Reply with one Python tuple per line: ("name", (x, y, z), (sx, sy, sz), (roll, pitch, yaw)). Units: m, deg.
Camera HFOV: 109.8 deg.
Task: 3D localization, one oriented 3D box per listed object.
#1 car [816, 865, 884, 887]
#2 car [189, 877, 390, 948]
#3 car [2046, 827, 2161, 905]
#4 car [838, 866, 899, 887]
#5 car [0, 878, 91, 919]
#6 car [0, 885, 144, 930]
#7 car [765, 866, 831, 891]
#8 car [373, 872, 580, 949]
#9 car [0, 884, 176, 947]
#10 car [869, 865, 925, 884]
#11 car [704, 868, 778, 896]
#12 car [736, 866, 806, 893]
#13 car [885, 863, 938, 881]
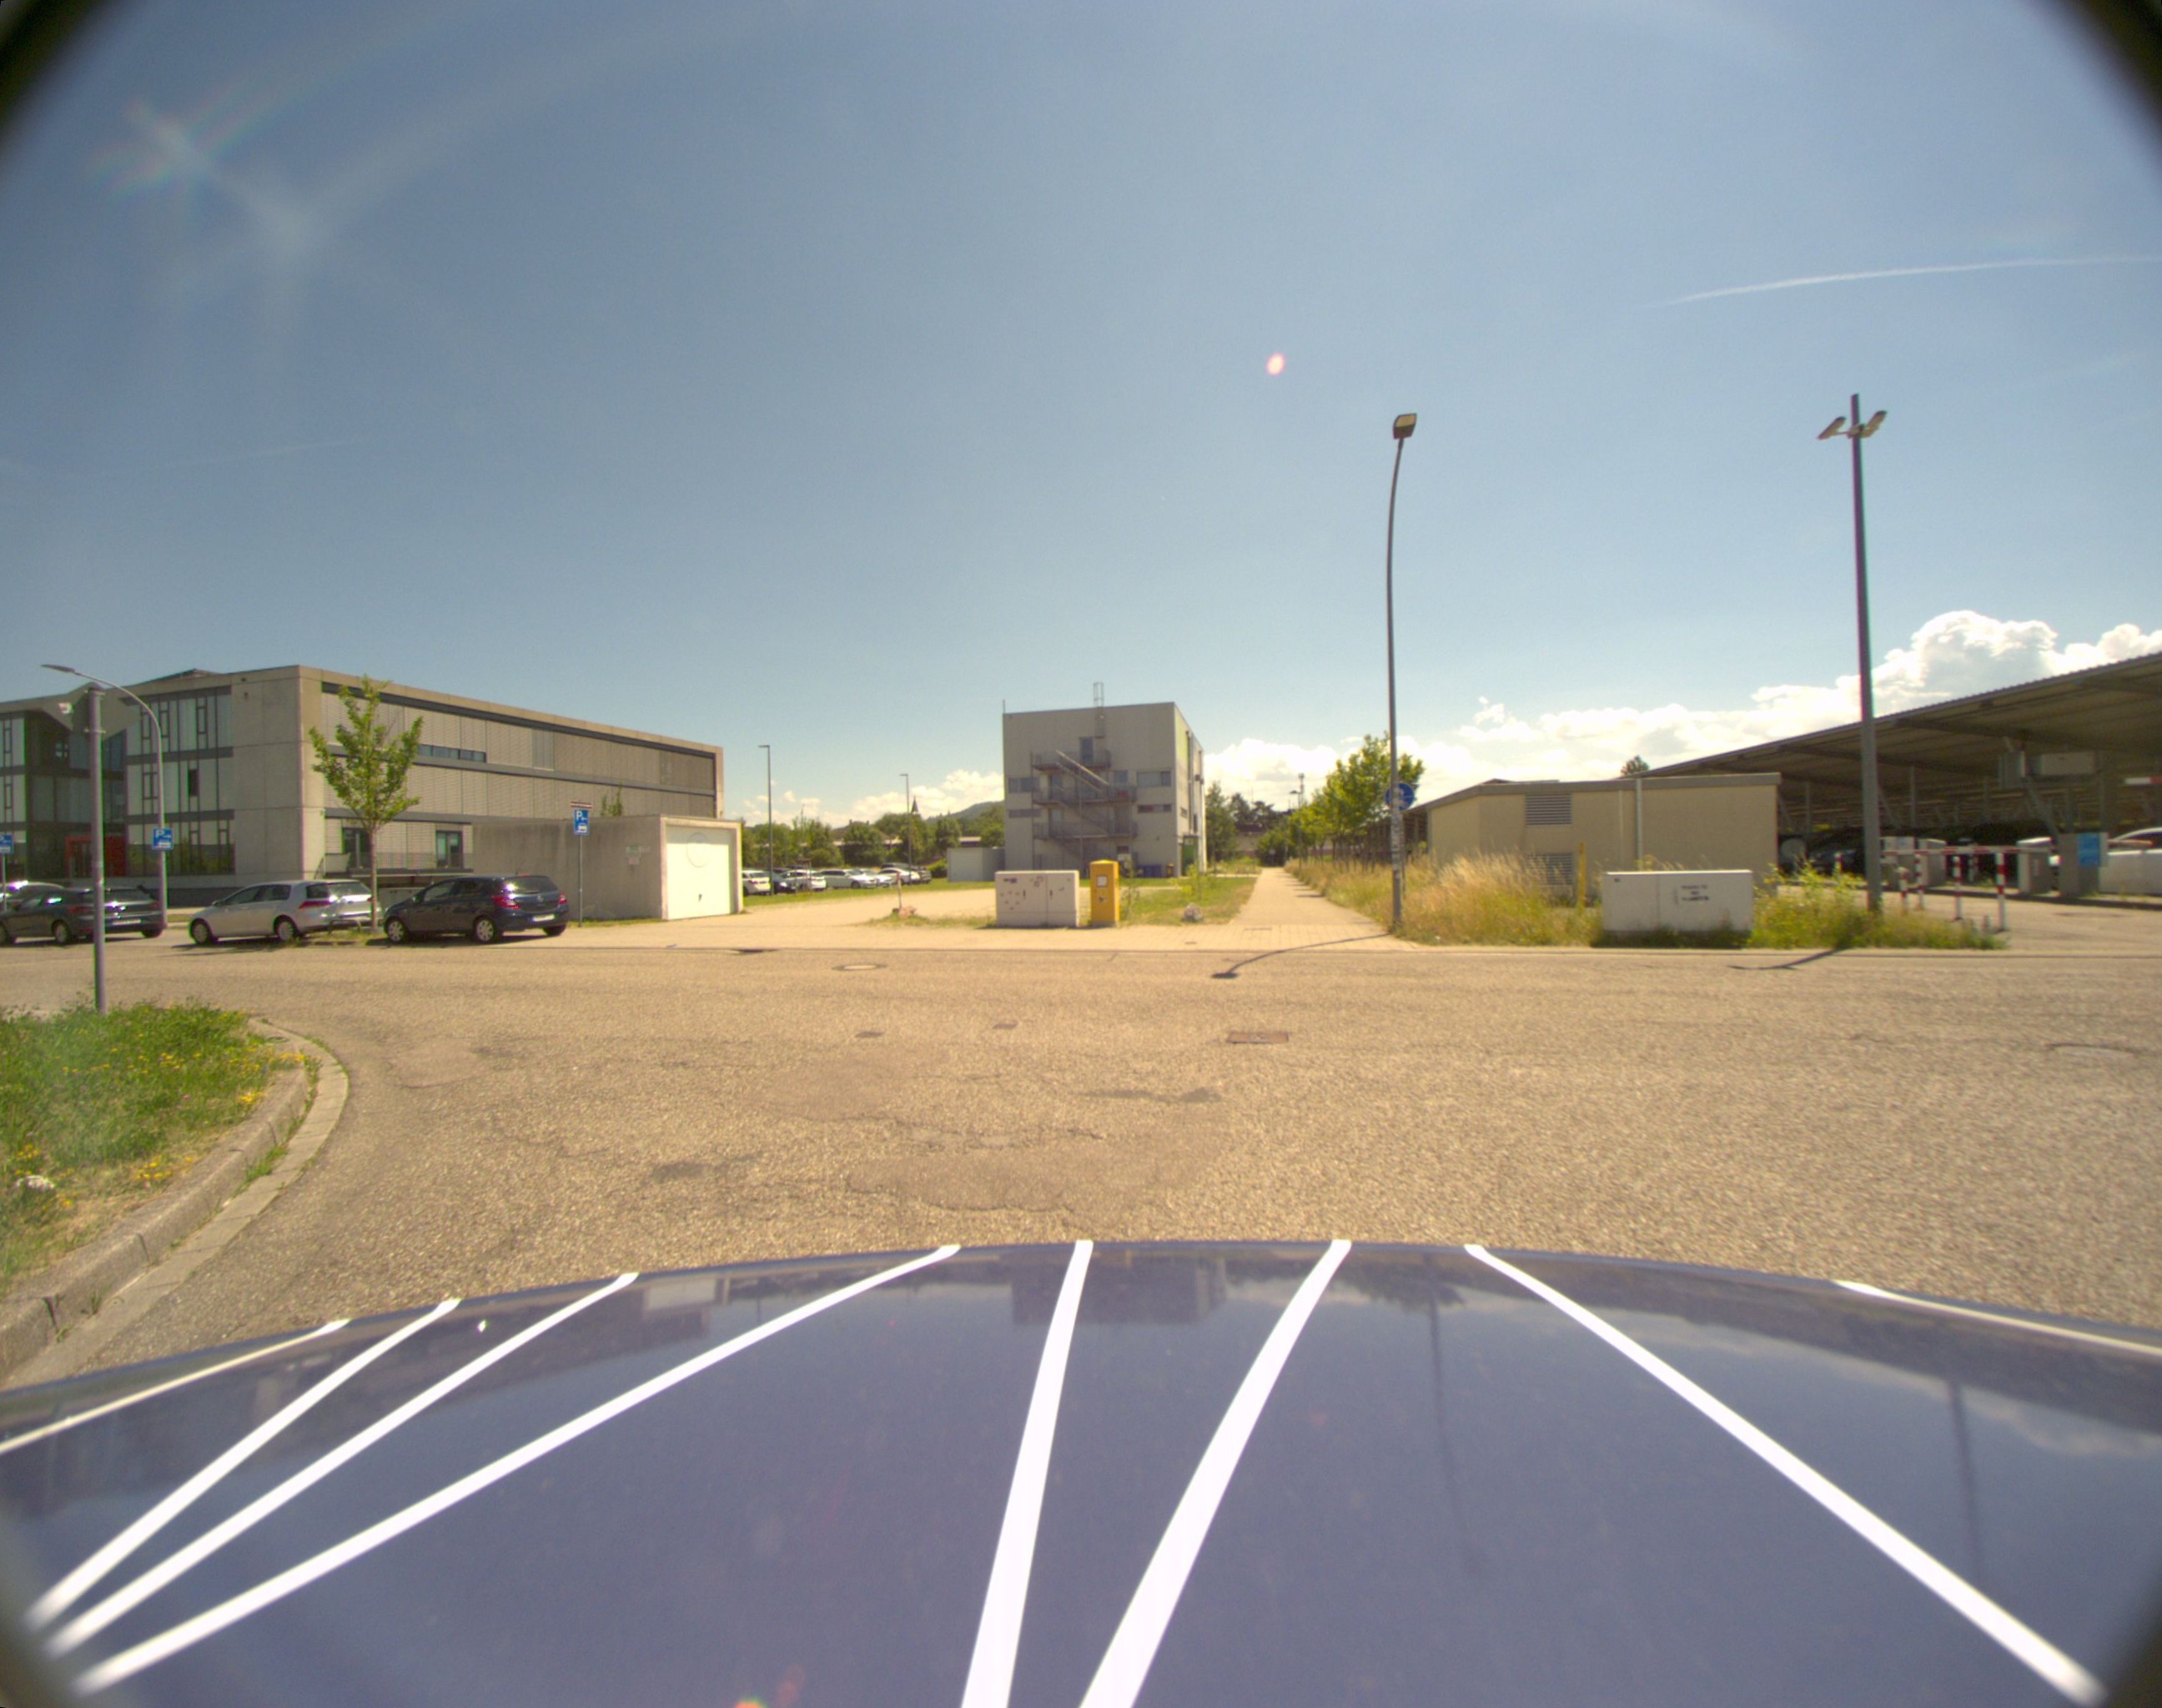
("car", (-16.514, 1.552, 54.279), (4.363, 1.458, 1.711), (-2, 0, 15))
("car", (-18.999, 1.389, 18.299), (3.622, 1.492, 1.660), (-2, 2, 13))
("car", (20.618, 0.204, 13.855), (1.720, 1.428, 3.780), (-1, 0, 12))
("car", (-15.804, 1.667, 56.557), (4.049, 1.458, 1.661), (-2, 0, 15))
("car", (-44.862, 1.899, 32.004), (1.658, 1.461, 3.625), (-2, 2, -6))
("car", (-42.173, 2.189, 31.758), (1.658, 1.461, 3.625), (-2, 2, -6))
("car", (-18.164, 1.577, 48.822), (3.621, 1.492, 1.661), (-2, 0, 15))
("car", (-13.408, 1.240, 16.918), (3.621, 1.492, 1.685), (-2, 2, 15))
("car", (-26.463, 1.611, 20.176), (3.621, 1.461, 1.660), (-2, 2, 15))
("car", (-14.875, 1.650, 61.477), (4.049, 1.417, 1.661), (-2, 0, 15))
("car", (-19.619, 1.600, 43.904), (3.621, 1.492, 1.661), (-2, 0, 15))
("car", (-18.766, 1.532, 46.040), (3.621, 1.526, 1.661), (-2, 0, 15))
("car", (-14.438, 1.562, 64.734), (4.049, 1.379, 1.661), (-2, 0, 15))
